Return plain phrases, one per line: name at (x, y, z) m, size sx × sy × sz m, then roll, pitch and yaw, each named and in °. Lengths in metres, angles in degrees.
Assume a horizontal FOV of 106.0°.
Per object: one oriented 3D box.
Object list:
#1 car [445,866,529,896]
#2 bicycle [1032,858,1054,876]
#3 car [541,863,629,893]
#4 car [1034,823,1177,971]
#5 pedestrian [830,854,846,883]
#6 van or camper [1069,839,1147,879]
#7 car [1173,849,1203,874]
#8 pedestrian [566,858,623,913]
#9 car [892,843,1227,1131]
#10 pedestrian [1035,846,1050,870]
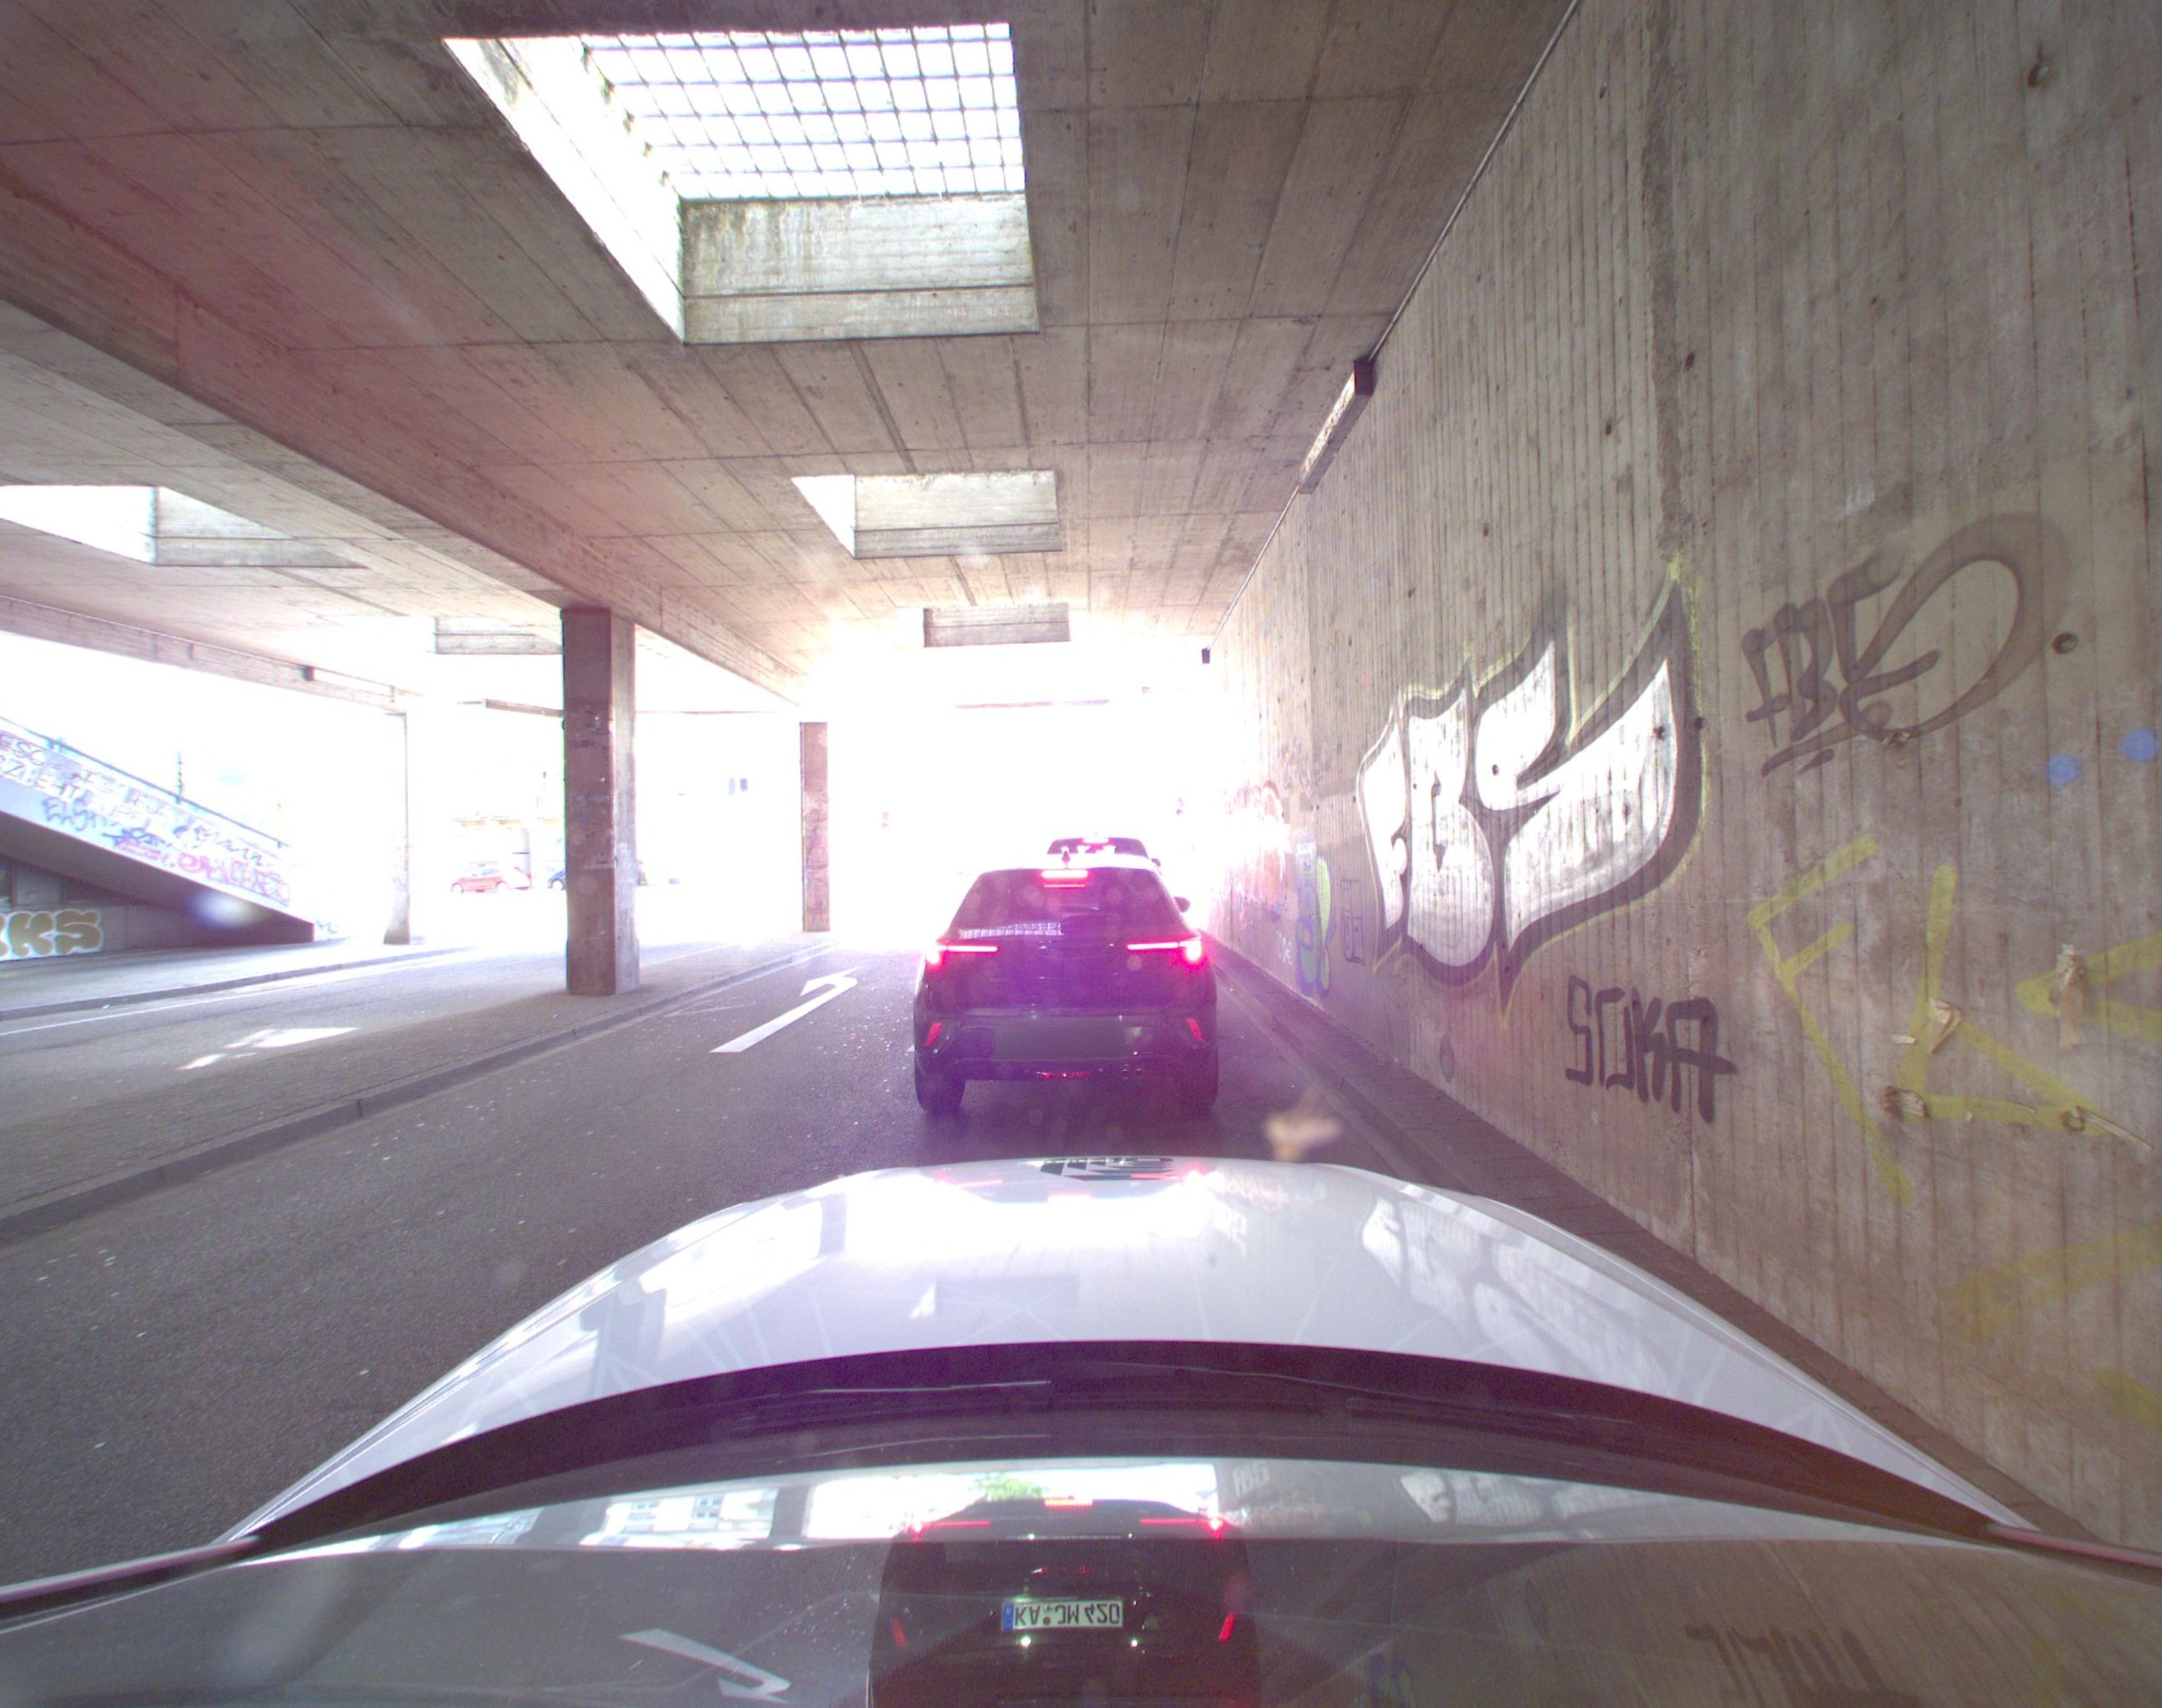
car at (-32.876, 1.476, 45.130) m, size 3.519 × 1.506 × 1.563 m, roll -2°, pitch 0°, yaw 2°
bicycle at (-2.506, 0.865, 54.190) m, size 0.730 × 1.130 × 2.036 m, roll -2°, pitch 0°, yaw 19°
car at (-27.484, 1.320, 45.215) m, size 3.742 × 1.508 × 1.752 m, roll -2°, pitch 0°, yaw 0°
car at (0.375, 0.538, 12.193) m, size 1.779 × 1.833 × 3.962 m, roll -1°, pitch 0°, yaw 2°
pedestrian at (-14.295, 0.829, 47.883) m, size 0.726 × 1.705 × 0.618 m, roll 0°, pitch -1°, yaw -35°
van or camper at (1.483, 0.270, 43.522) m, size 3.854 × 2.013 × 2.005 m, roll -2°, pitch 0°, yaw 9°
car at (7.441, 0.490, 56.770) m, size 1.983 × 1.641 × 4.602 m, roll -2°, pitch 0°, yaw 7°
pedestrian at (-16.150, 1.037, 27.057) m, size 1.103 × 1.737 × 1.146 m, roll -2°, pitch 0°, yaw 15°
car at (-0.037, 0.696, 6.268) m, size 1.746 × 1.498 × 4.002 m, roll 0°, pitch 0°, yaw 2°
pedestrian at (-2.547, 0.275, 54.165) m, size 0.729 × 1.585 × 0.894 m, roll 0°, pitch -1°, yaw 18°
